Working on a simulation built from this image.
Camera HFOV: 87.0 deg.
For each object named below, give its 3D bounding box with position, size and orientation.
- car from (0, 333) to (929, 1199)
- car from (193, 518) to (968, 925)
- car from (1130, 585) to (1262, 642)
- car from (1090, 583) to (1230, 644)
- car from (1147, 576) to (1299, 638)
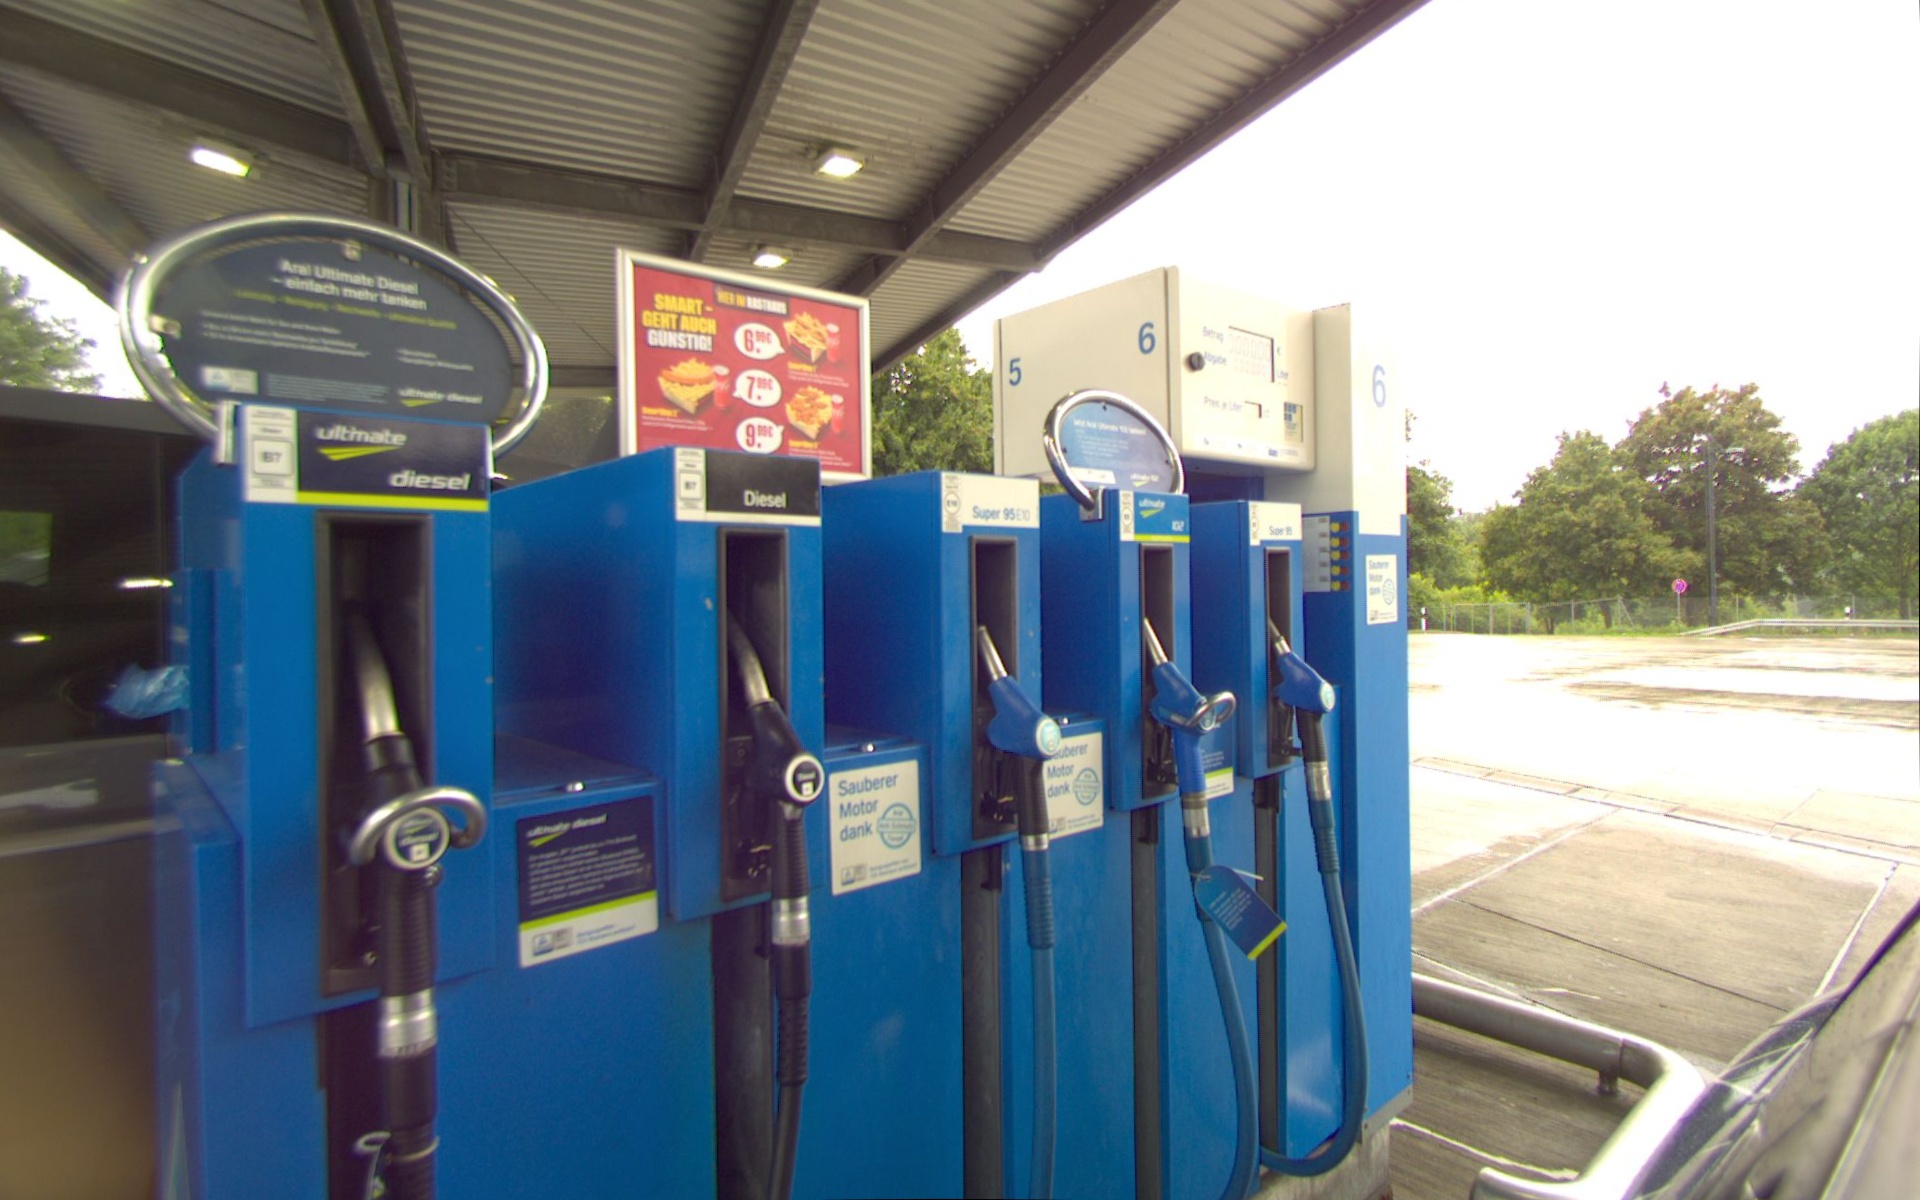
[{"bbox_3d":[-2.594,0.502,1.819,5.050,1.821,1.864,-1,0,-41],"label":"car"},{"bbox_3d":[-2.230,0.518,6.706,4.460,1.821,1.864,-1,0,-41],"label":"car"},{"bbox_3d":[7.429,0.386,31.923,3.941,1.680,1.593,1,0,14],"label":"car"},{"bbox_3d":[5.875,0.374,29.732,3.941,1.680,1.593,1,0,14],"label":"car"},{"bbox_3d":[8.891,0.207,34.506,4.817,1.974,2.306,1,1,14],"label":"car"}]
